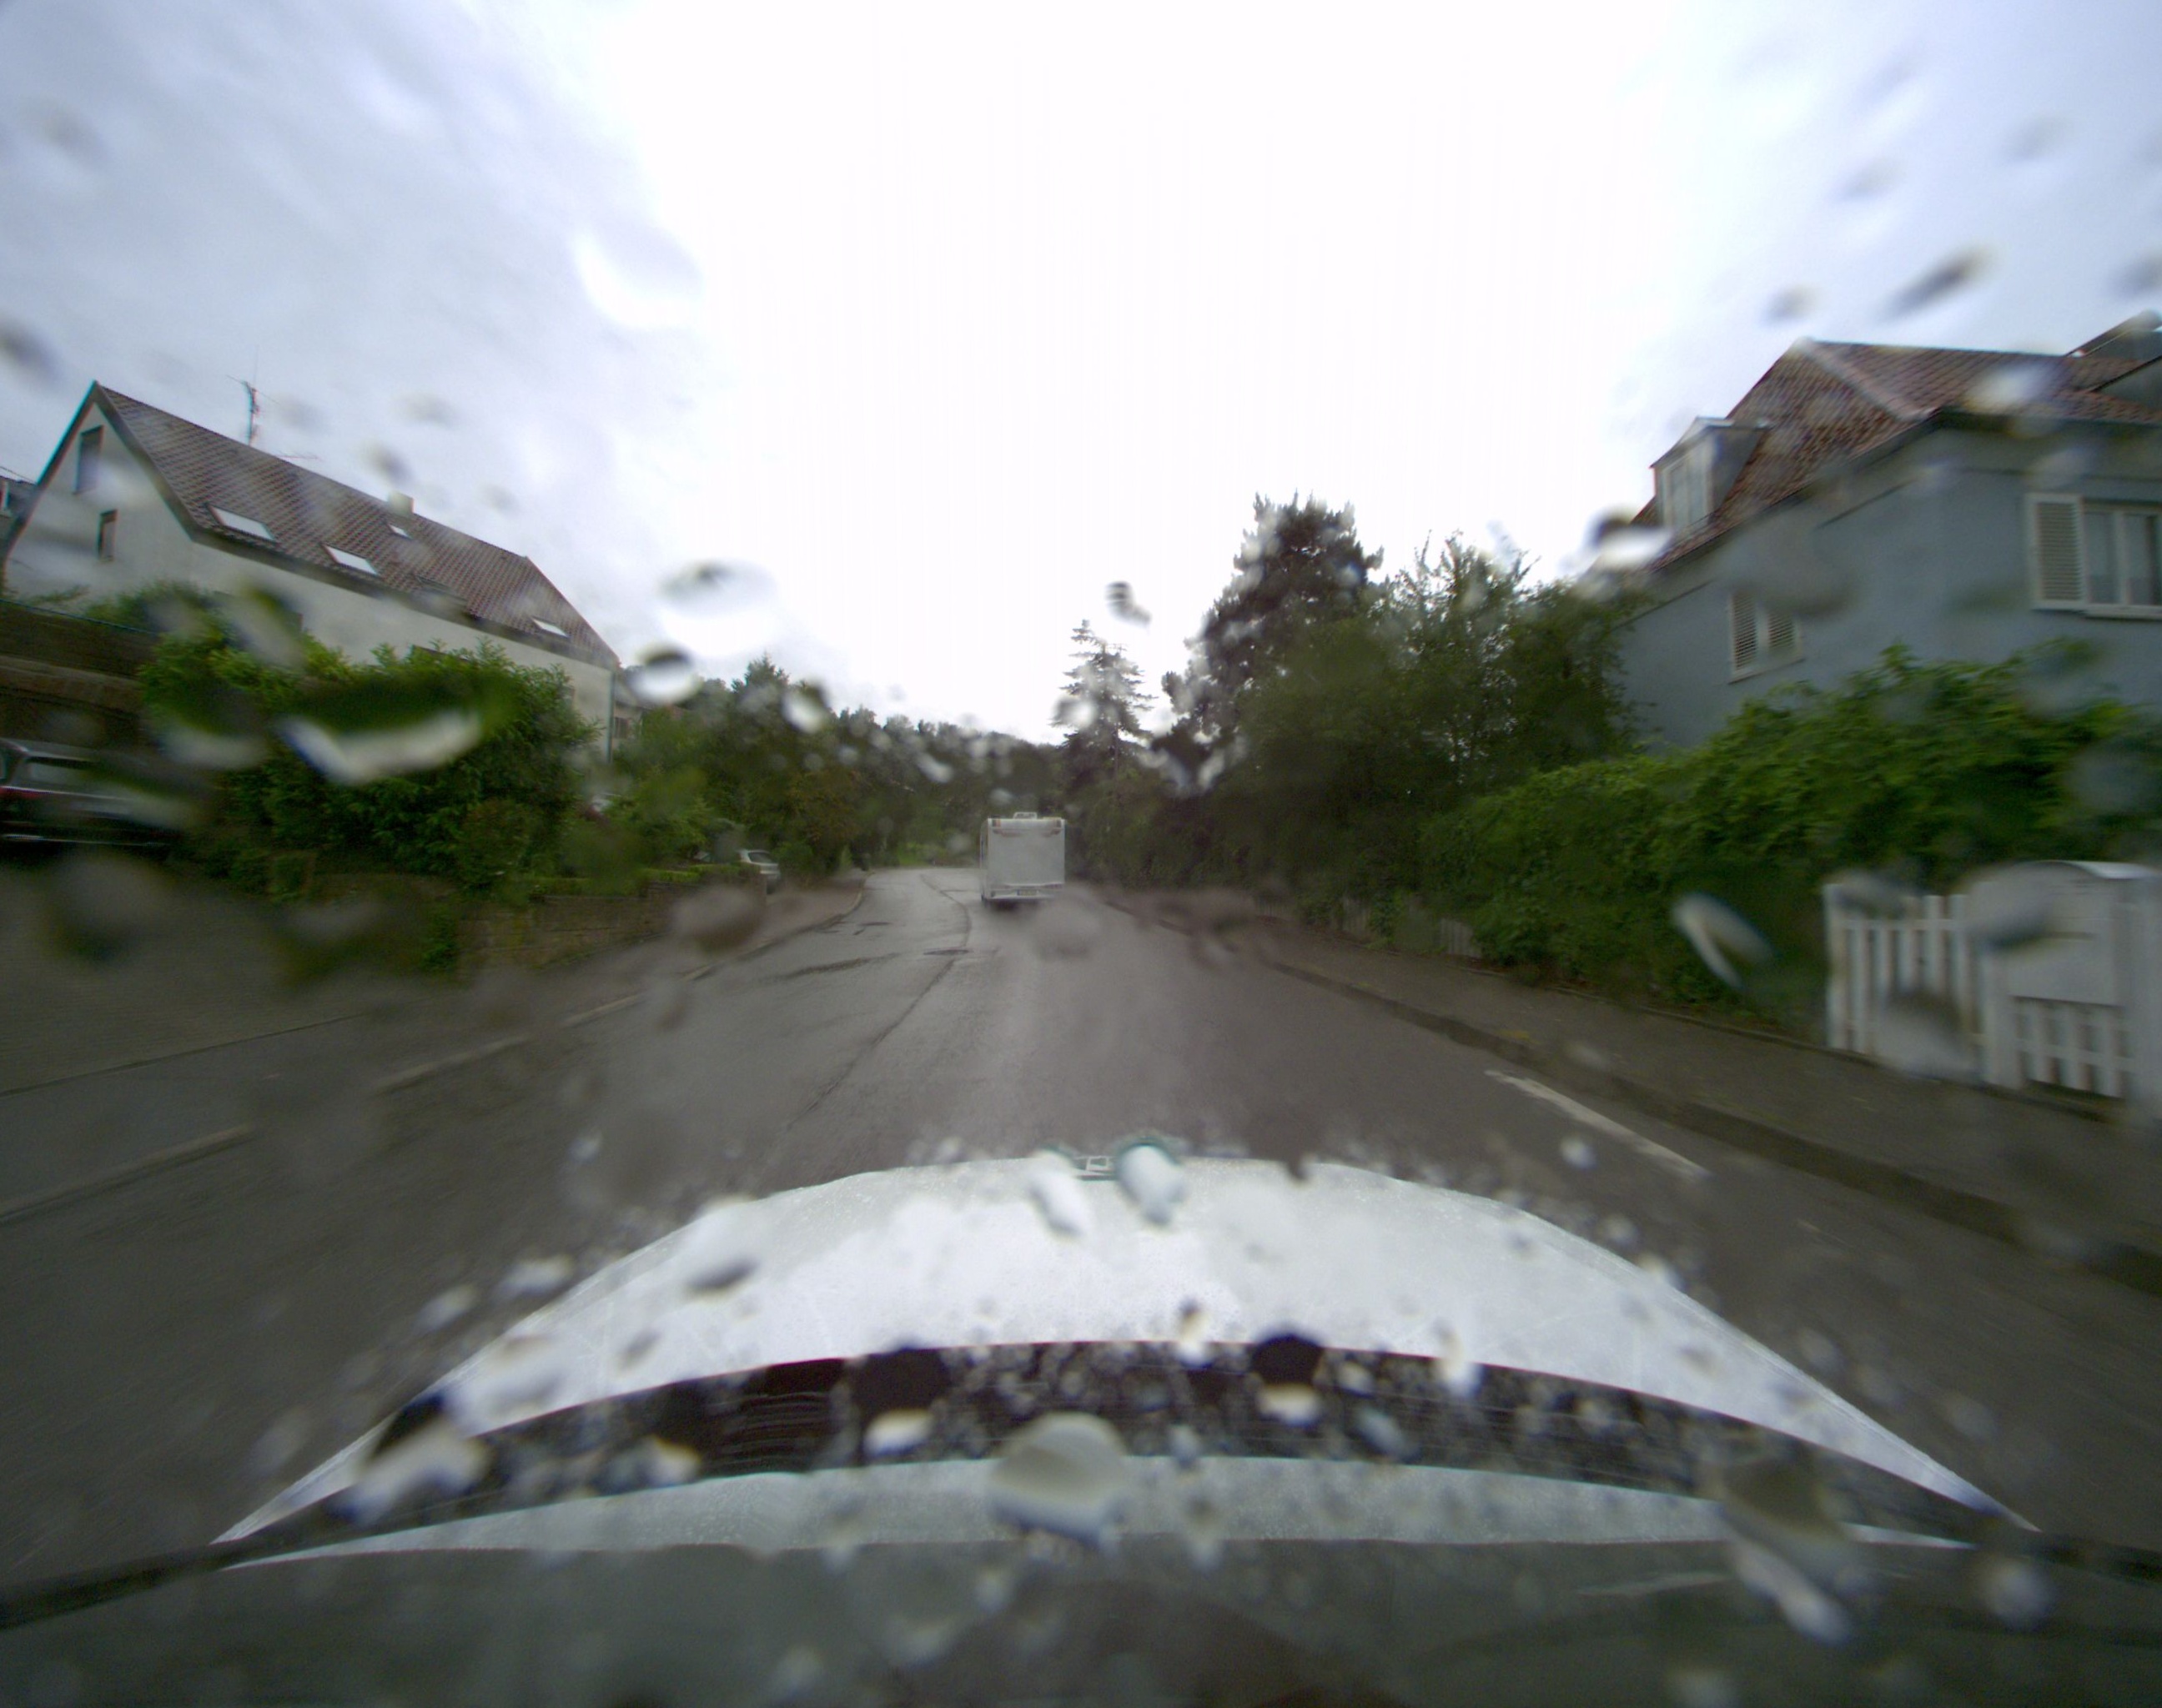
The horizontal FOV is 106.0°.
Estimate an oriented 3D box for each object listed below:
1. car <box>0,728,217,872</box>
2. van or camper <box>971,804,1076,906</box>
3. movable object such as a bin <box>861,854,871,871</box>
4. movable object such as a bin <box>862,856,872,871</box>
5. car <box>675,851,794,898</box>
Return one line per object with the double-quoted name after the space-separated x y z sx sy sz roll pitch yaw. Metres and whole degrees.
-14.067 -0.799 11.229 3.752 1.523 1.741 9 3 24 "car"
-1.992 0.126 25.901 2.617 2.853 6.007 1 -2 -11 "van or camper"
-15.999 0.604 60.590 0.742 1.253 0.753 1 -1 -15 "movable object such as a bin"
-15.697 0.691 59.748 0.742 1.094 0.753 1 -1 -15 "movable object such as a bin"
-12.996 0.767 30.548 3.898 1.585 1.873 -3 -2 22 "car"
